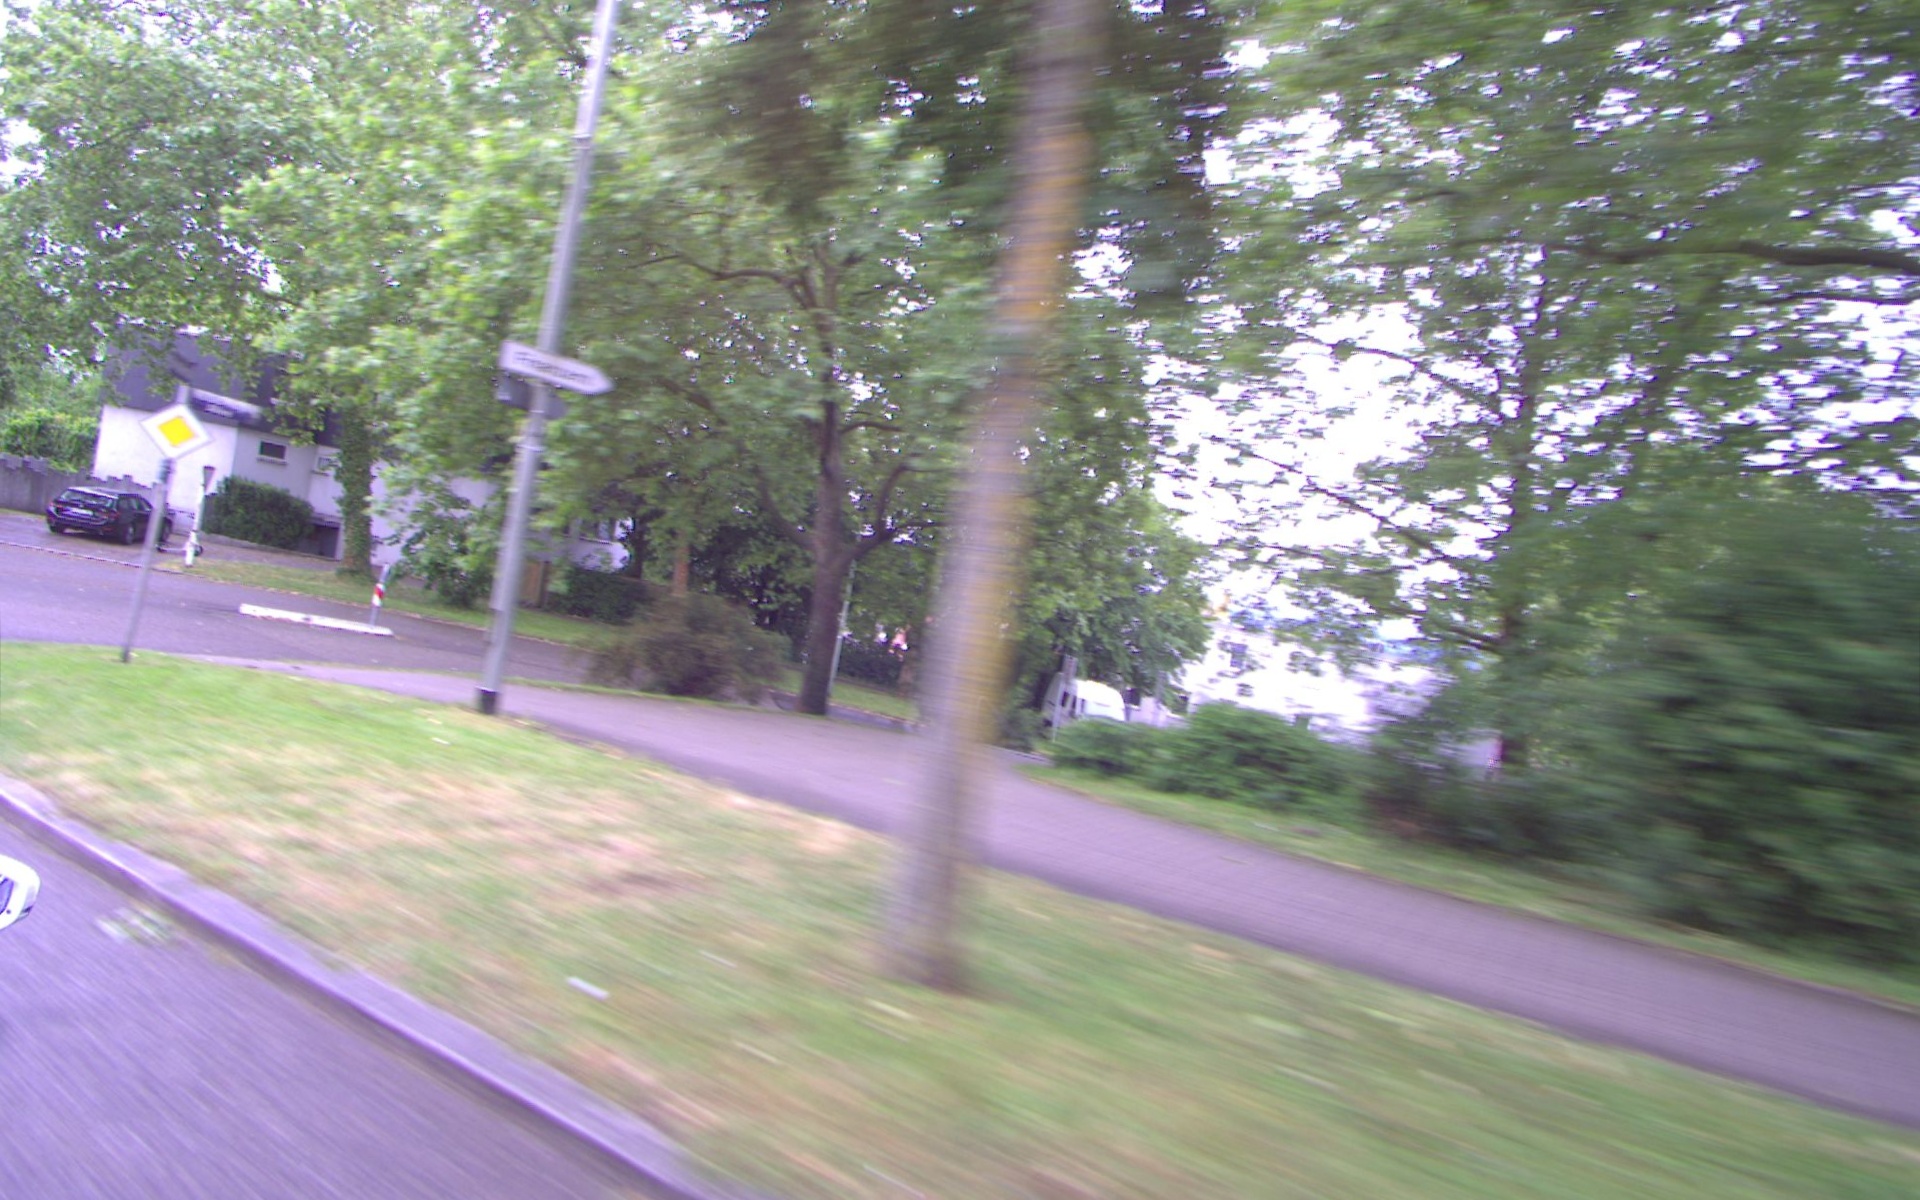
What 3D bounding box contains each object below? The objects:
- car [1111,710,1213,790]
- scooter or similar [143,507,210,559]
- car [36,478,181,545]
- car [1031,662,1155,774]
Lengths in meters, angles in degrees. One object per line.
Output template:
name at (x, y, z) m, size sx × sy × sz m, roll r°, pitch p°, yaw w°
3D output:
car at (7.450, 5.527, 37.607) m, size 1.916 × 1.711 × 4.290 m, roll 14°, pitch 1°, yaw -11°
scooter or similar at (-23.047, -1.970, 29.608) m, size 0.551 × 1.301 × 1.339 m, roll 8°, pitch 0°, yaw 25°
car at (-25.300, -2.622, 30.110) m, size 1.736 × 1.487 × 4.539 m, roll 12°, pitch 0°, yaw -22°
car at (4.761, 4.223, 37.294) m, size 2.321 × 2.707 × 6.127 m, roll 11°, pitch 2°, yaw -11°
